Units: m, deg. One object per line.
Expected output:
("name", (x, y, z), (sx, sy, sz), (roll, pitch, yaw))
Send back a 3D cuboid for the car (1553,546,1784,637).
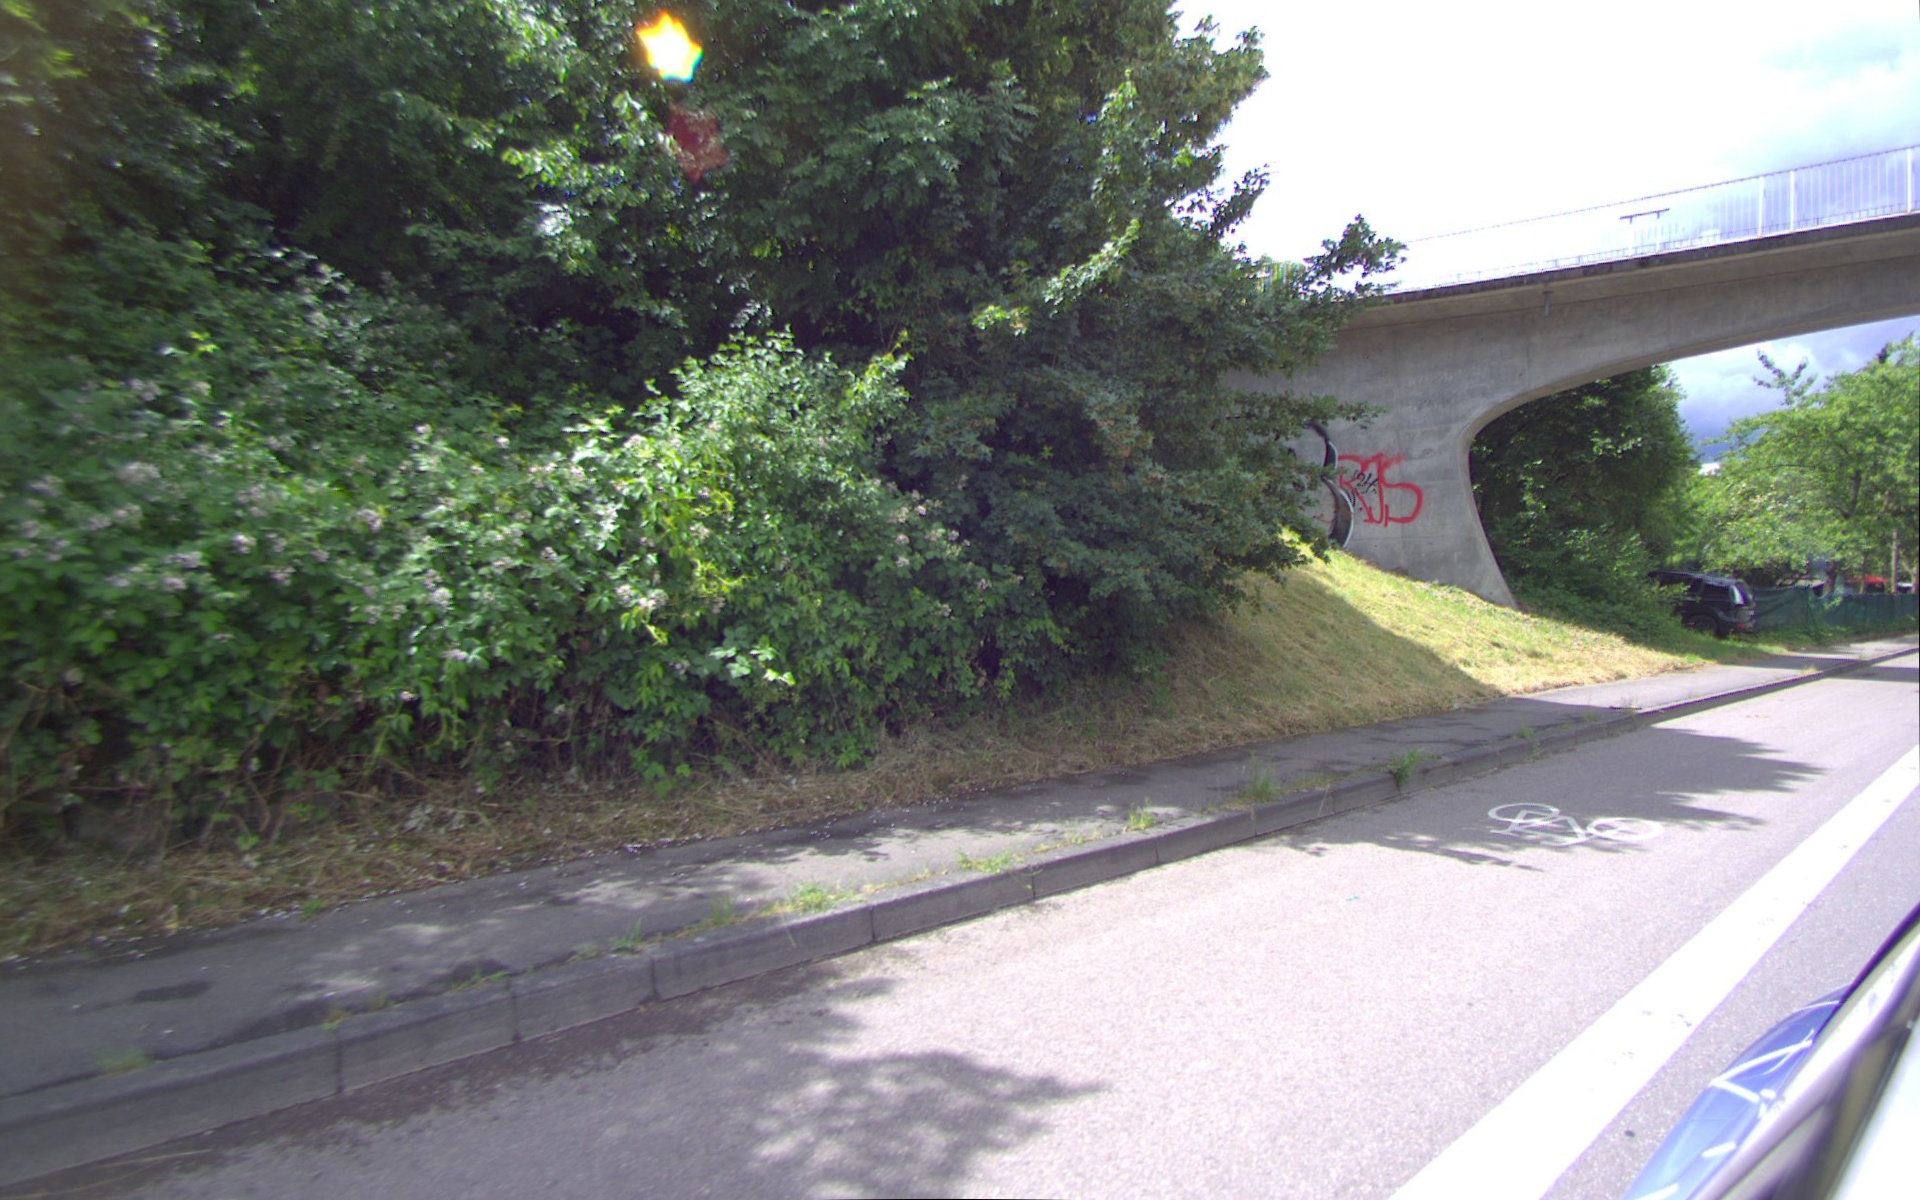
("car", (18.819, -0.329, 27.083), (1.964, 1.689, 4.543), (-3, 11, -38))
